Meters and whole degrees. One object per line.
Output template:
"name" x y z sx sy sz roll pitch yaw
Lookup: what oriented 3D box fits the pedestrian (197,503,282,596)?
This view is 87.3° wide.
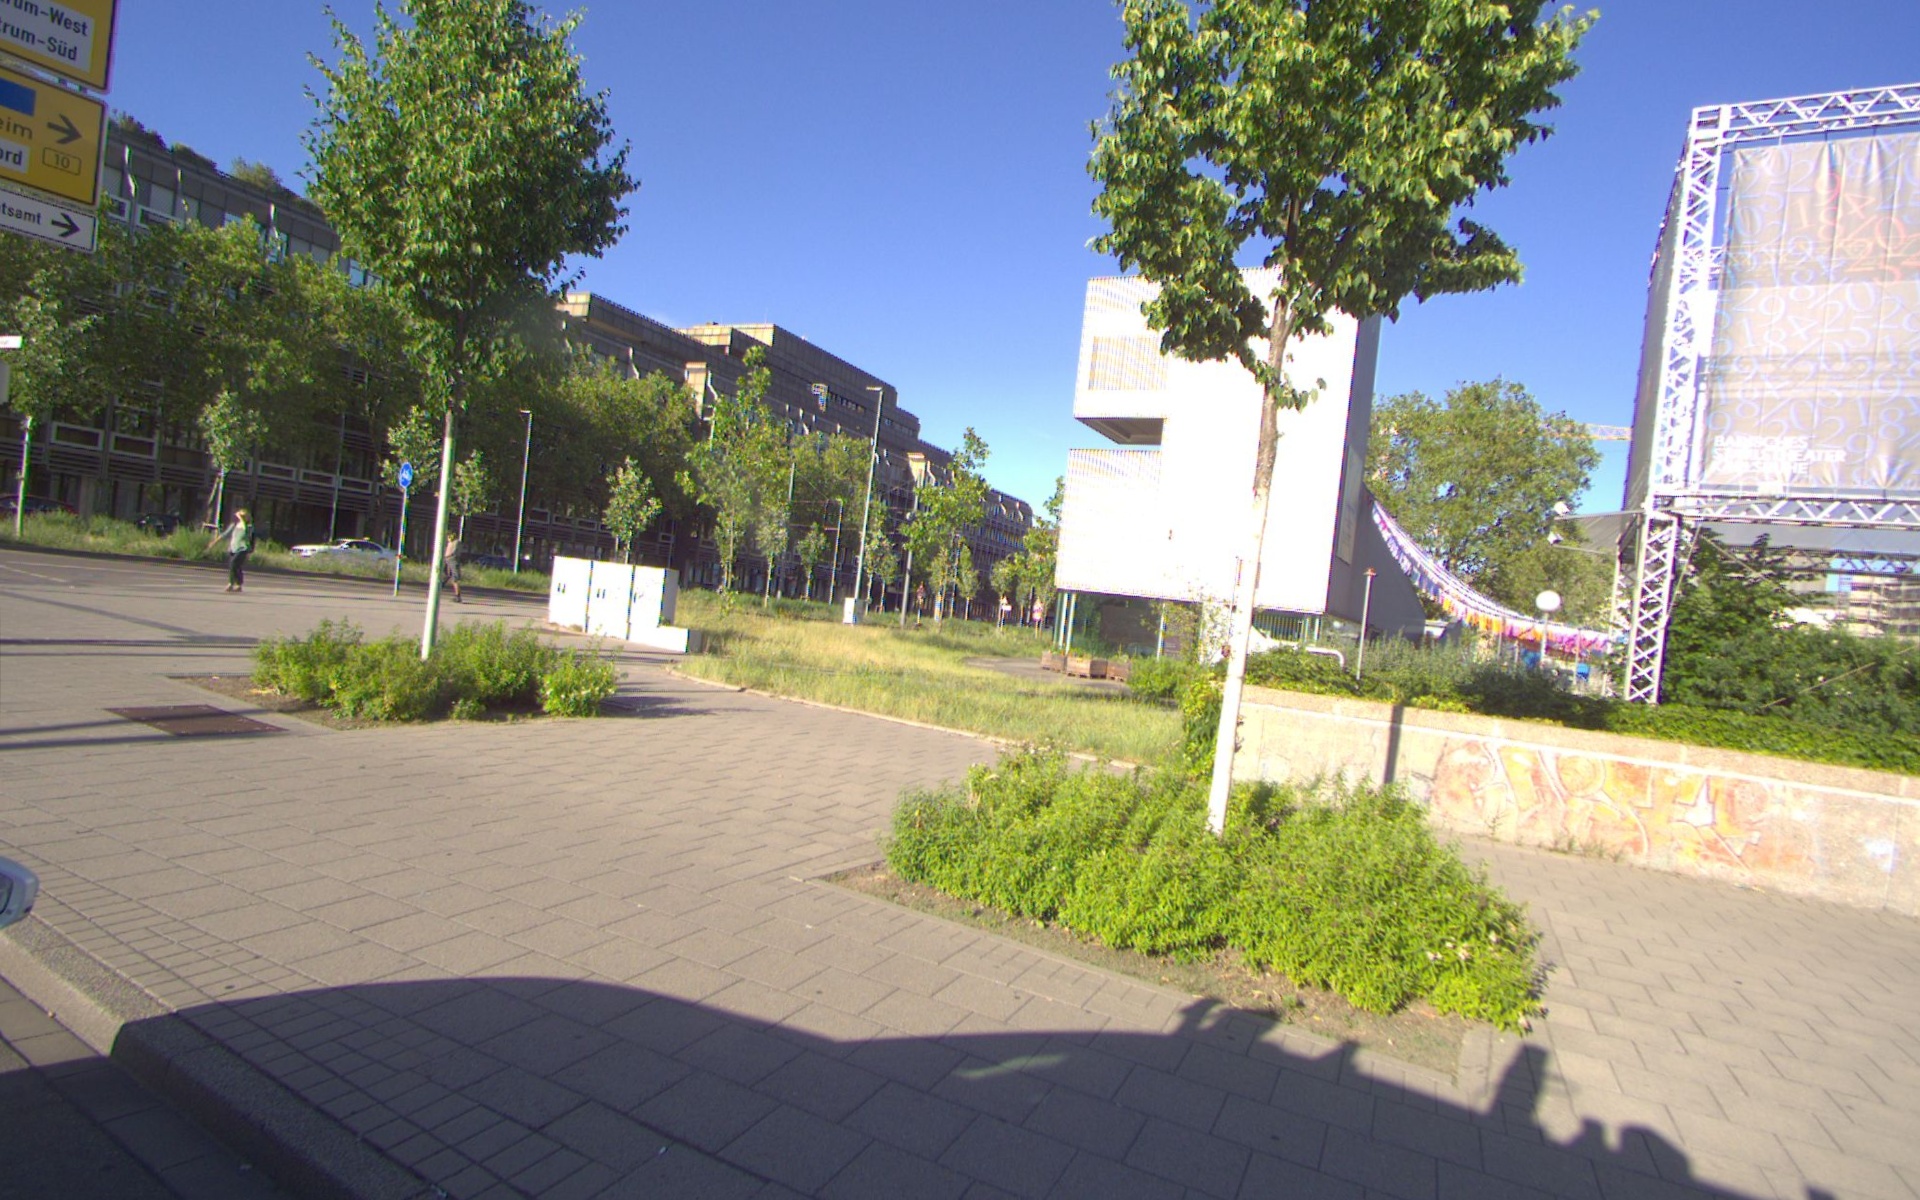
"pedestrian" -13.927 -0.960 19.458 0.925 1.650 0.803 7 1 18

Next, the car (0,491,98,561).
"car" -33.310 -2.712 35.372 1.966 2.037 3.997 6 -2 29

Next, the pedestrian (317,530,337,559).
"pedestrian" -39.429 -3.470 62.672 0.728 1.678 0.665 7 1 25

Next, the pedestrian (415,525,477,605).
"pedestrian" -12.162 -0.817 23.802 0.925 1.750 0.695 7 1 18

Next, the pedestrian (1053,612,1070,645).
"pedestrian" 5.601 1.602 55.529 0.640 1.750 0.696 7 1 15

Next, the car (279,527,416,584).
"car" -30.672 -2.184 50.583 2.062 2.036 5.455 6 -2 29

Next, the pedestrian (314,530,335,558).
"pedestrian" -39.955 -3.517 63.261 0.728 1.678 0.665 7 1 25

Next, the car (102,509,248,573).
"car" -34.108 -2.531 43.879 1.965 2.036 4.458 7 -2 27

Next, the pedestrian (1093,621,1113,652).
"pedestrian" 8.490 2.148 59.709 0.781 1.750 0.618 6 1 -42

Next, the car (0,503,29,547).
"car" -37.240 -3.044 36.943 1.836 1.525 3.997 7 -2 29
